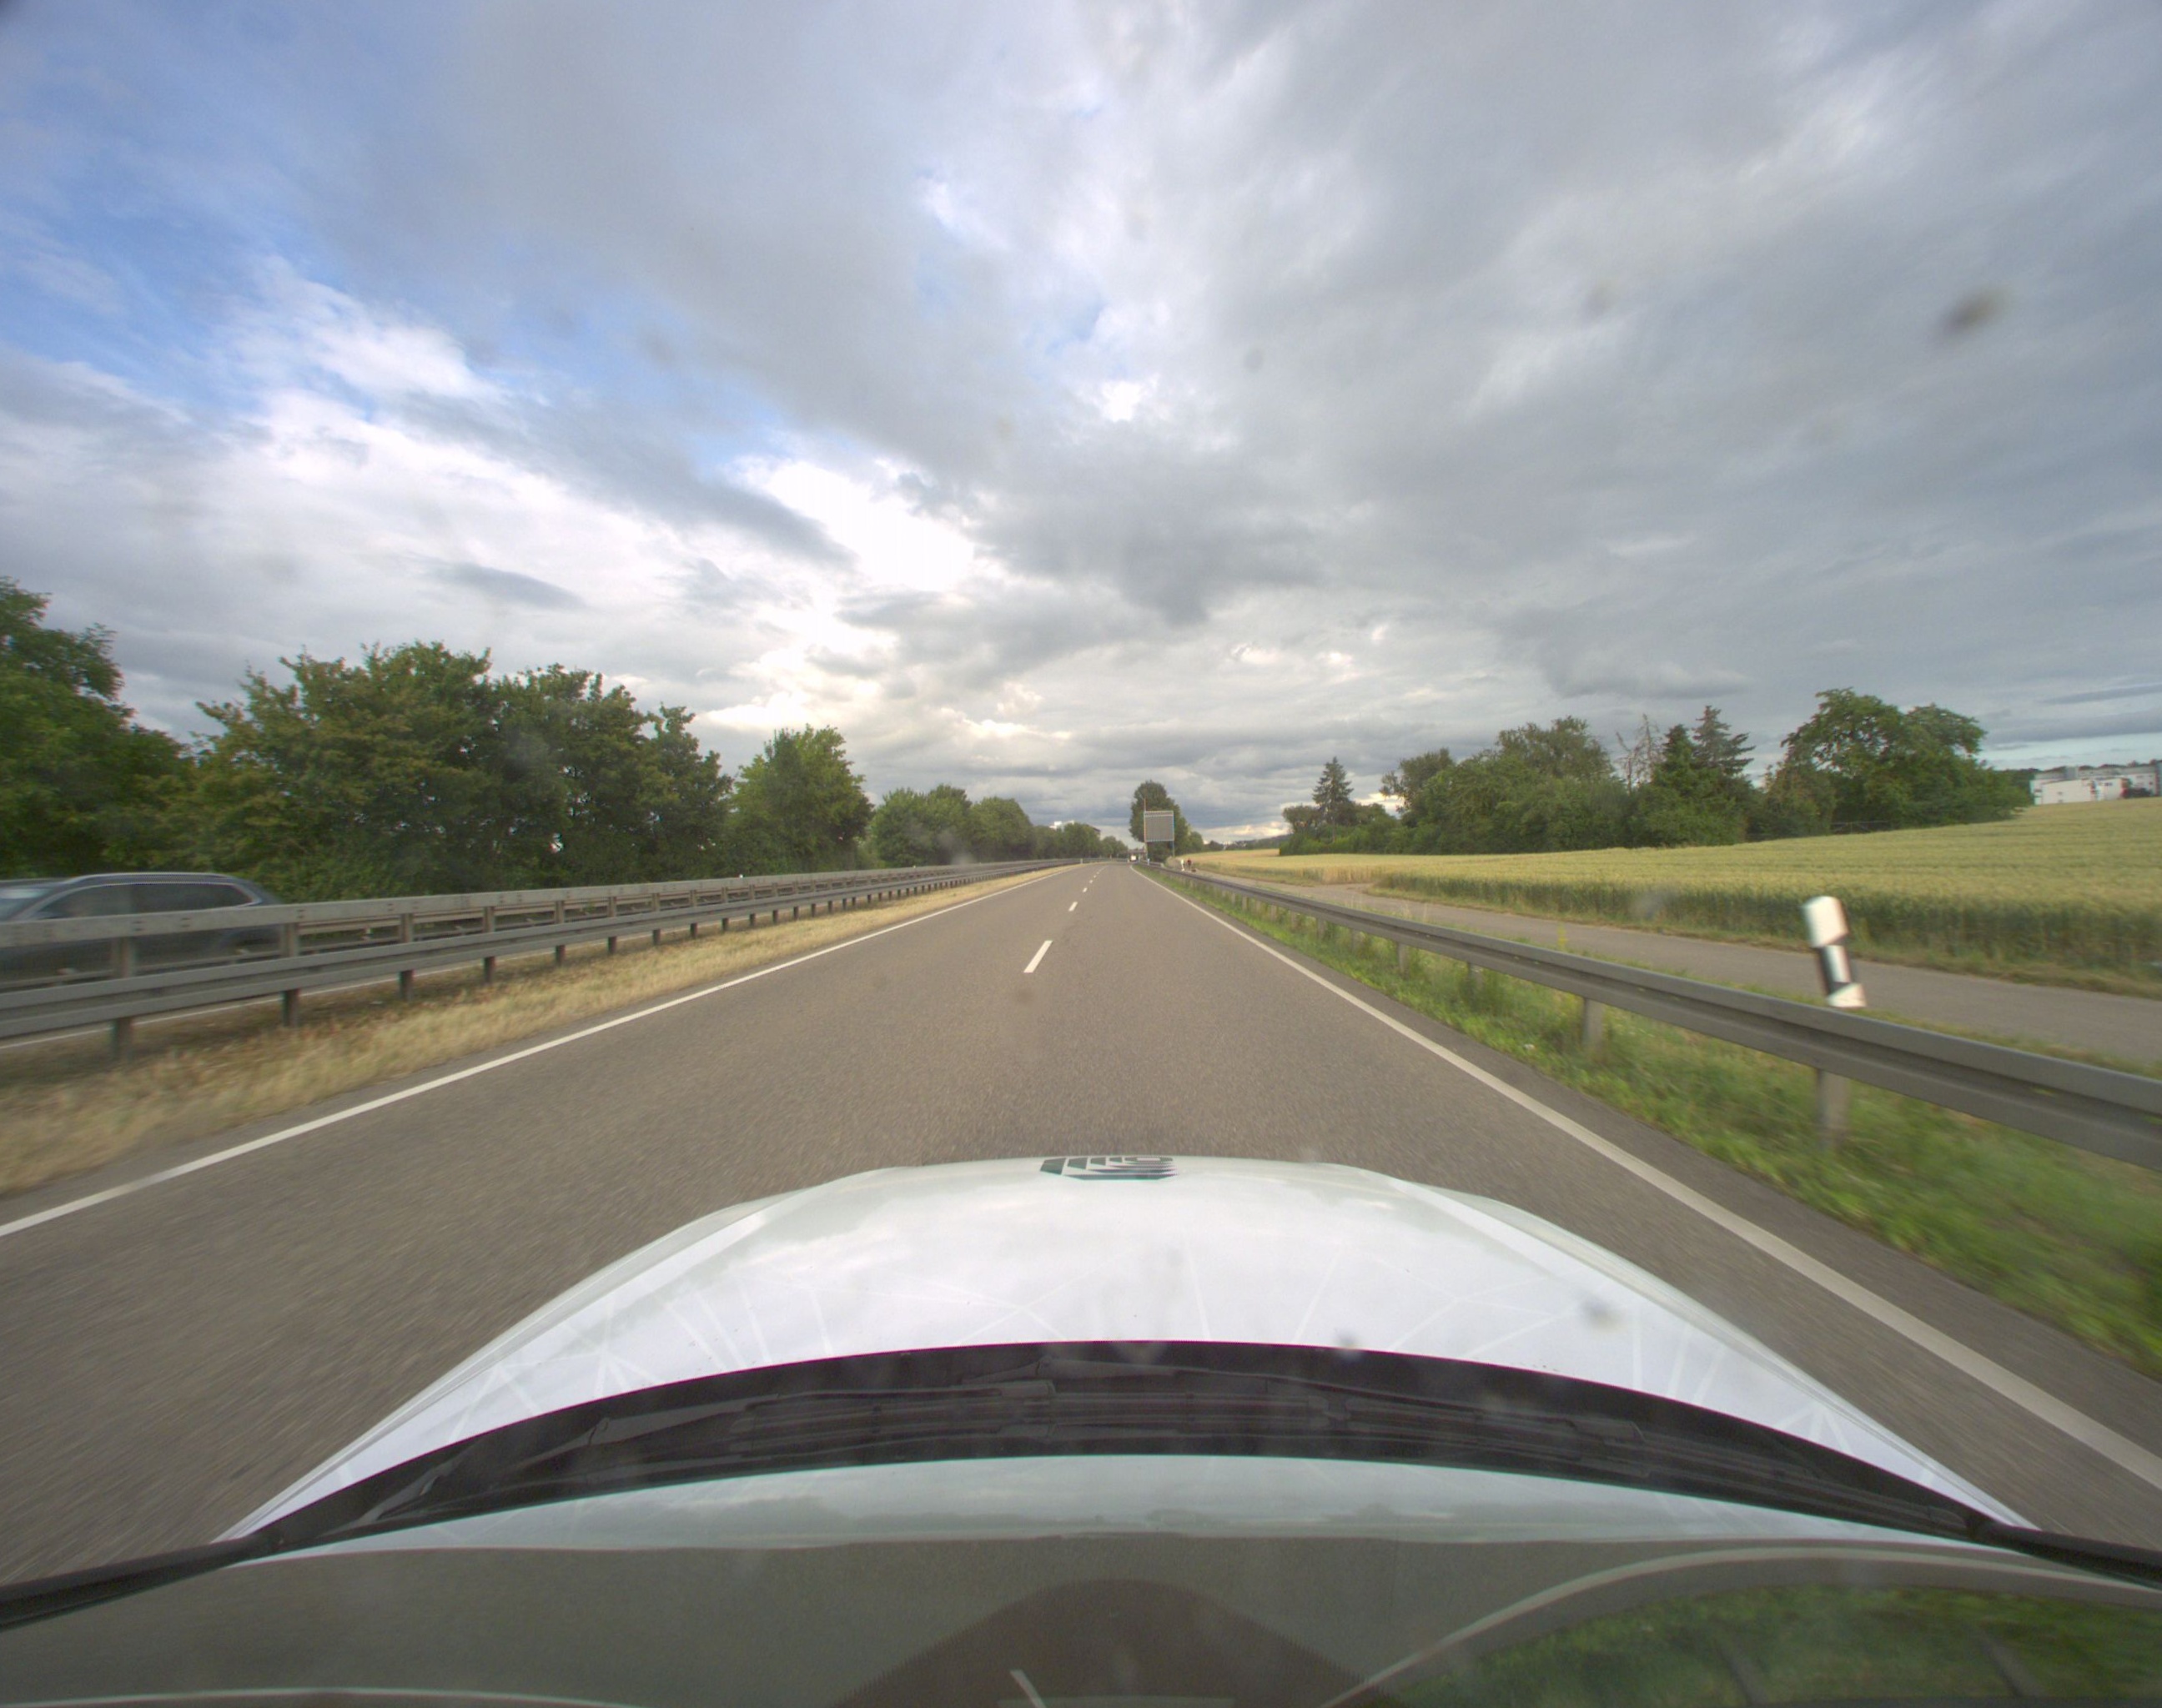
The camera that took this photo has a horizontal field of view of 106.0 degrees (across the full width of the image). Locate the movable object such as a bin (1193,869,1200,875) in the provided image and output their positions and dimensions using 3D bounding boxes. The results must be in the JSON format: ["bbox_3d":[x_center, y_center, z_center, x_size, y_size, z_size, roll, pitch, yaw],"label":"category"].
[{"bbox_3d":[13.863,2.140,97.890,0.729,0.645,1.236,0,-1,2],"label":"movable object such as a bin"}]

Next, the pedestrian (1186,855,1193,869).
[{"bbox_3d":[14.690,1.106,110.368,0.768,1.868,0.940,0,-1,2],"label":"pedestrian"}]

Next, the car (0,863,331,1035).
[{"bbox_3d":[-11.180,0.949,8.898,1.791,1.614,4.378,-2,0,2],"label":"car"}]
